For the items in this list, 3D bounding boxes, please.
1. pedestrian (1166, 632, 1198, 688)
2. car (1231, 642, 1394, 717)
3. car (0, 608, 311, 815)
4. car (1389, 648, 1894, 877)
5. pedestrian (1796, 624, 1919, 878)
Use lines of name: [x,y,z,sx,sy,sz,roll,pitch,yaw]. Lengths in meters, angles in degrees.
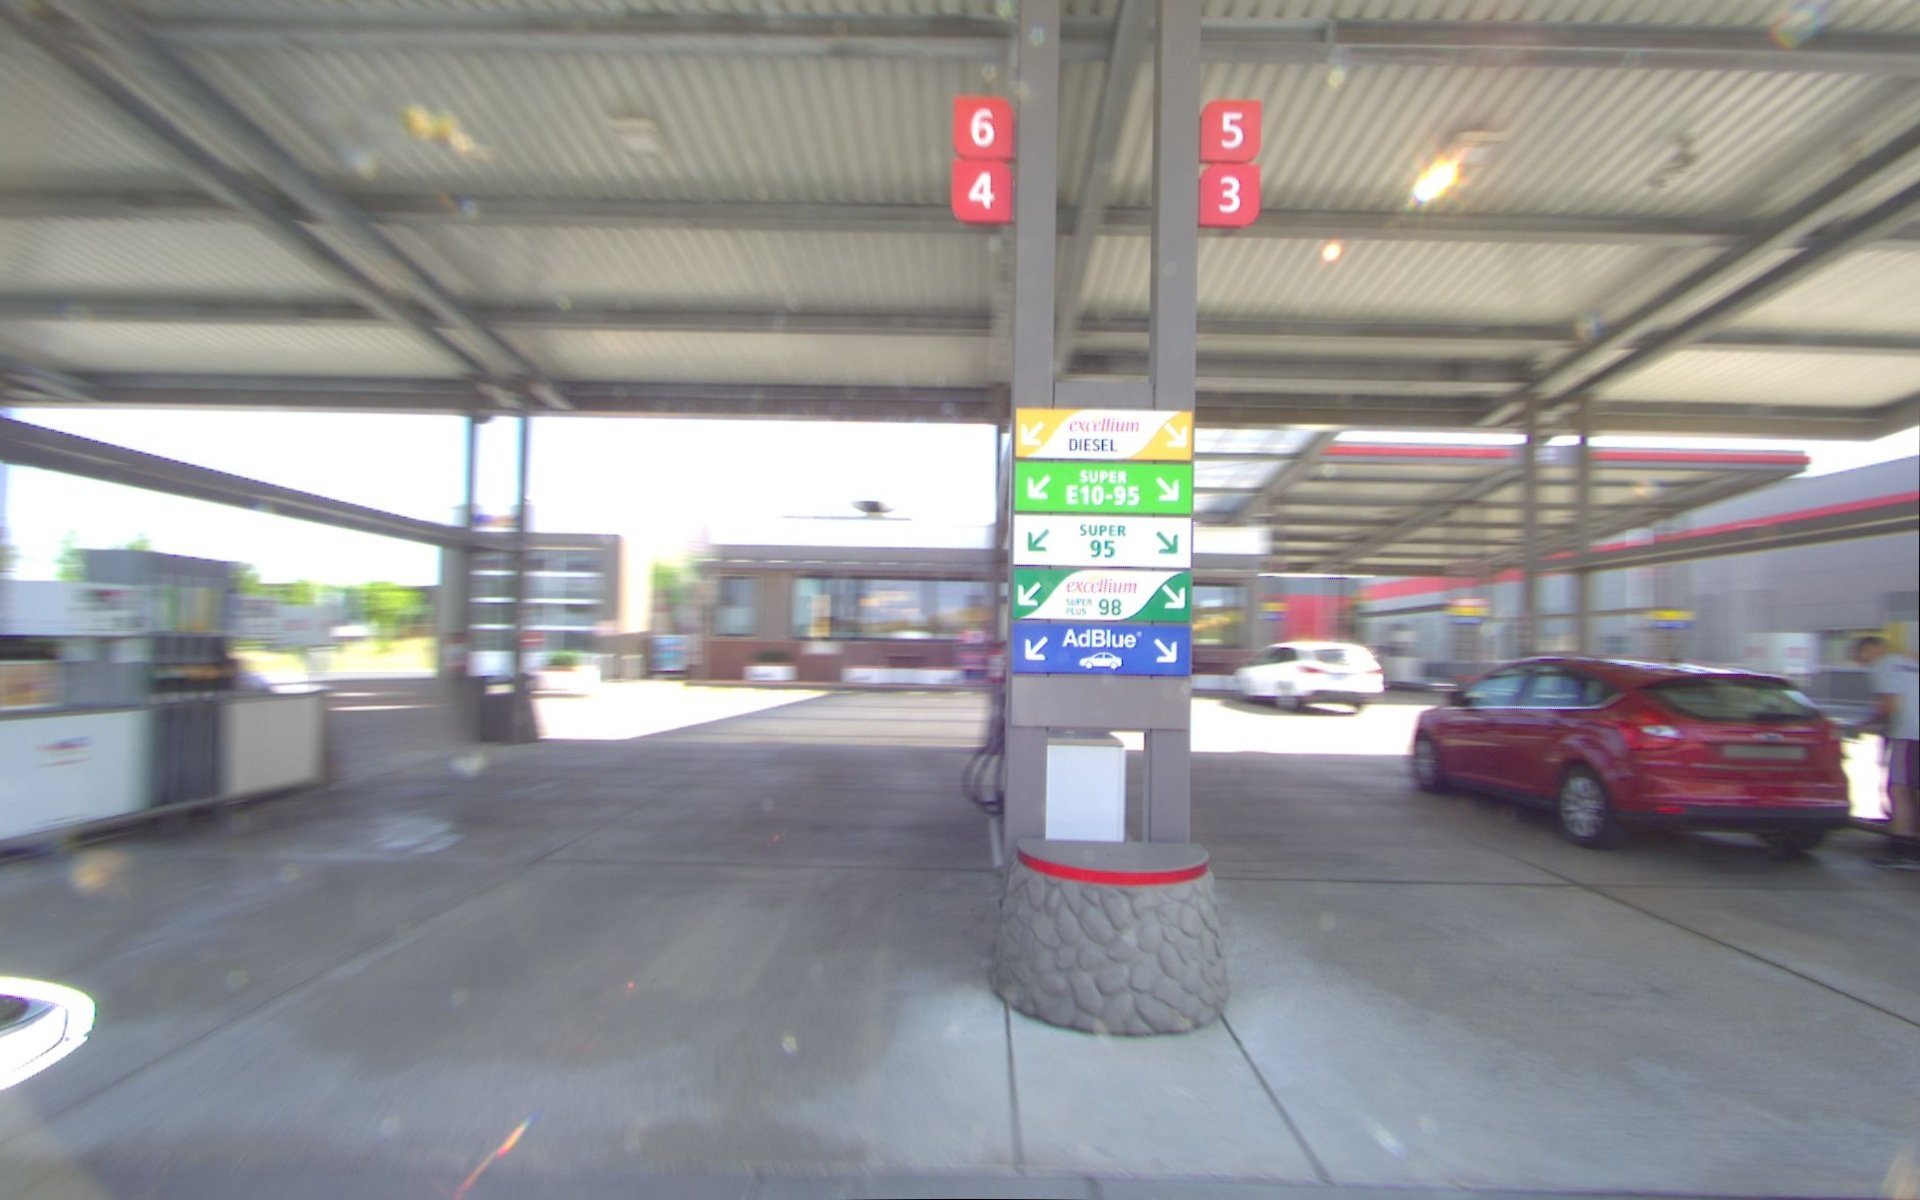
pedestrian: [5.938,1.599,26.810,0.689,1.450,0.673,1,-1,0]
car: [7.734,1.704,22.449,1.800,1.475,4.322,1,-2,-5]
car: [-8.067,0.873,8.851,1.751,1.561,4.328,1,-2,1]
car: [5.569,1.209,8.965,1.671,1.487,4.235,1,-2,1]
pedestrian: [6.805,1.046,7.276,0.689,1.724,0.928,1,-1,2]
